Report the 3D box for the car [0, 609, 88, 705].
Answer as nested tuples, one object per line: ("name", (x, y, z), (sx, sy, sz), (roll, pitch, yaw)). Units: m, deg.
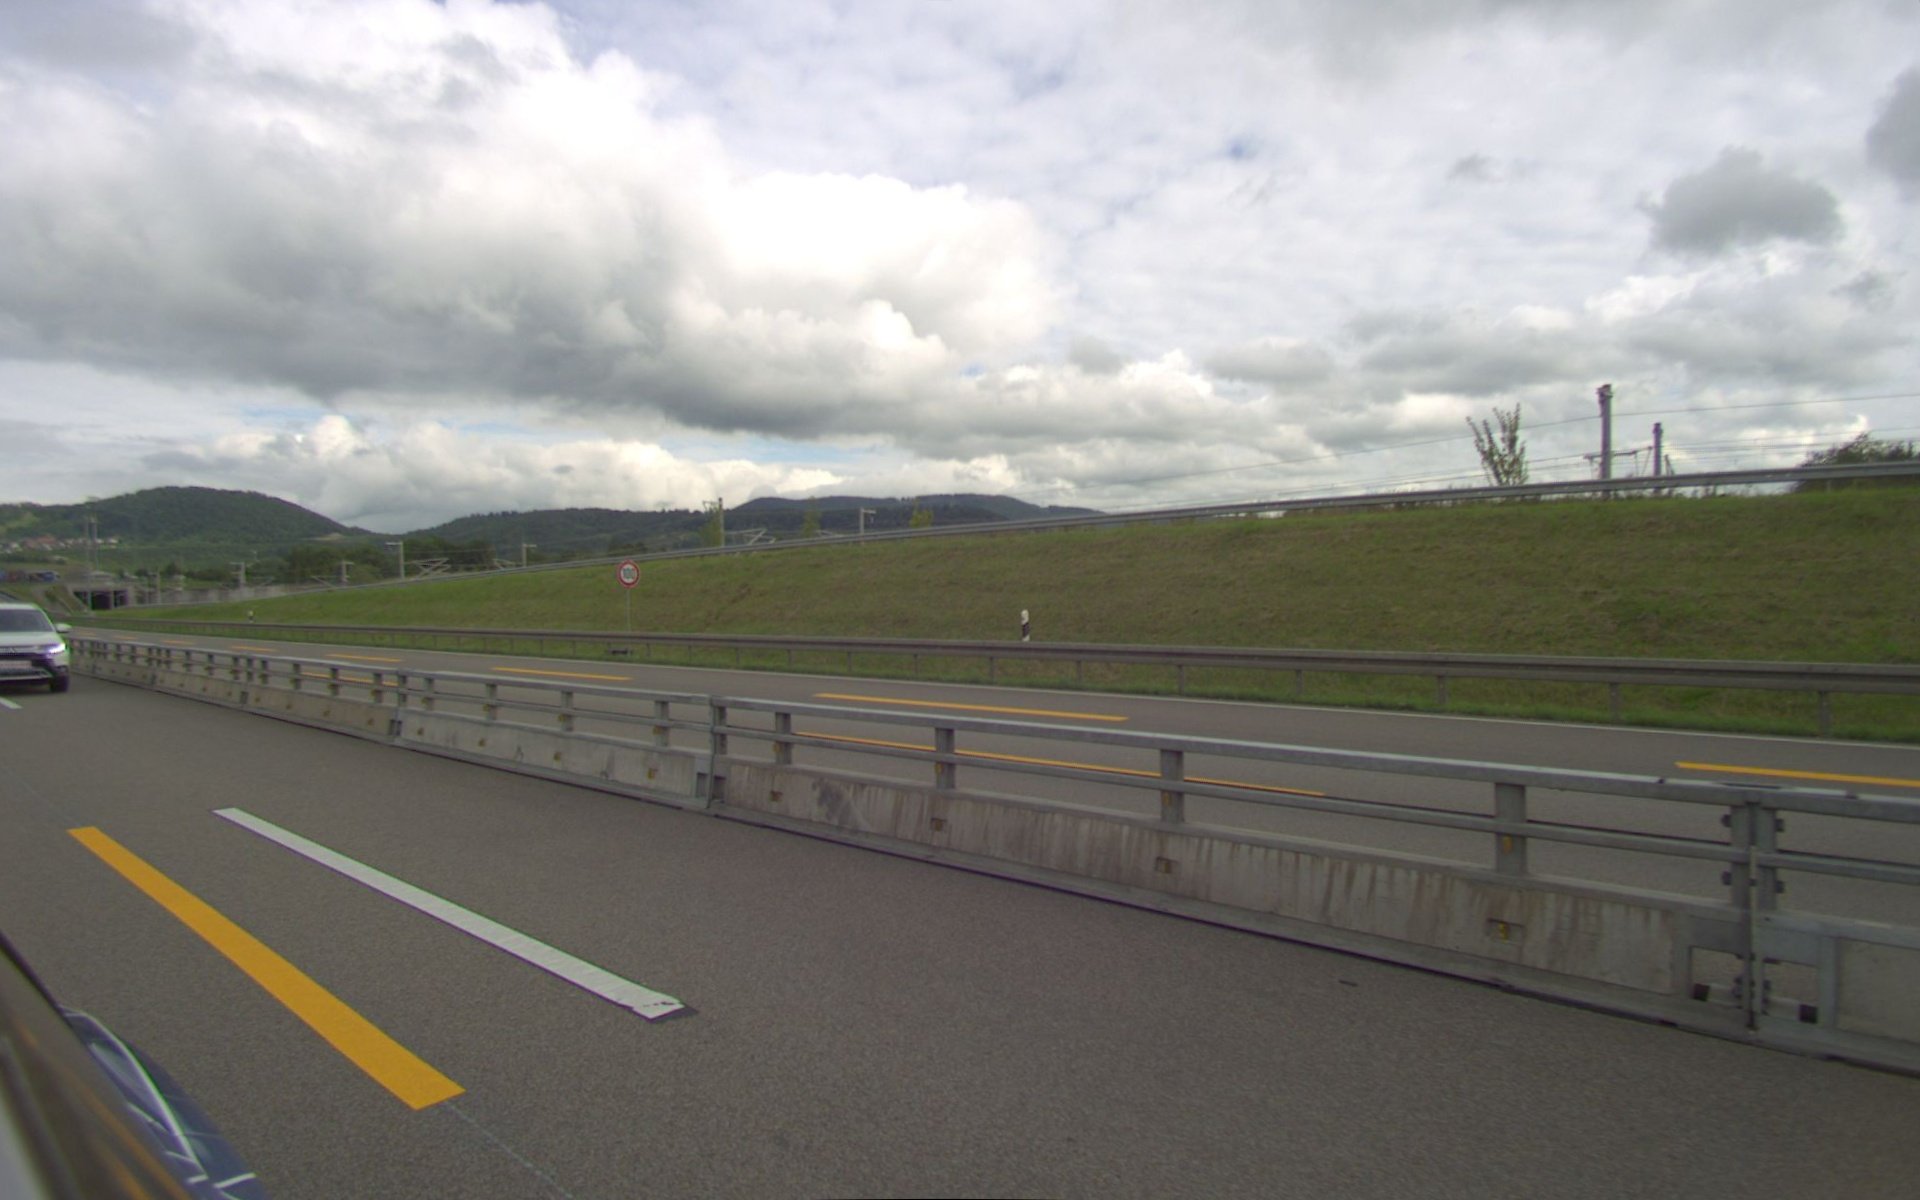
("car", (-17.868, 1.005, 18.808), (4.606, 1.640, 1.972), (-1, -1, 42))
